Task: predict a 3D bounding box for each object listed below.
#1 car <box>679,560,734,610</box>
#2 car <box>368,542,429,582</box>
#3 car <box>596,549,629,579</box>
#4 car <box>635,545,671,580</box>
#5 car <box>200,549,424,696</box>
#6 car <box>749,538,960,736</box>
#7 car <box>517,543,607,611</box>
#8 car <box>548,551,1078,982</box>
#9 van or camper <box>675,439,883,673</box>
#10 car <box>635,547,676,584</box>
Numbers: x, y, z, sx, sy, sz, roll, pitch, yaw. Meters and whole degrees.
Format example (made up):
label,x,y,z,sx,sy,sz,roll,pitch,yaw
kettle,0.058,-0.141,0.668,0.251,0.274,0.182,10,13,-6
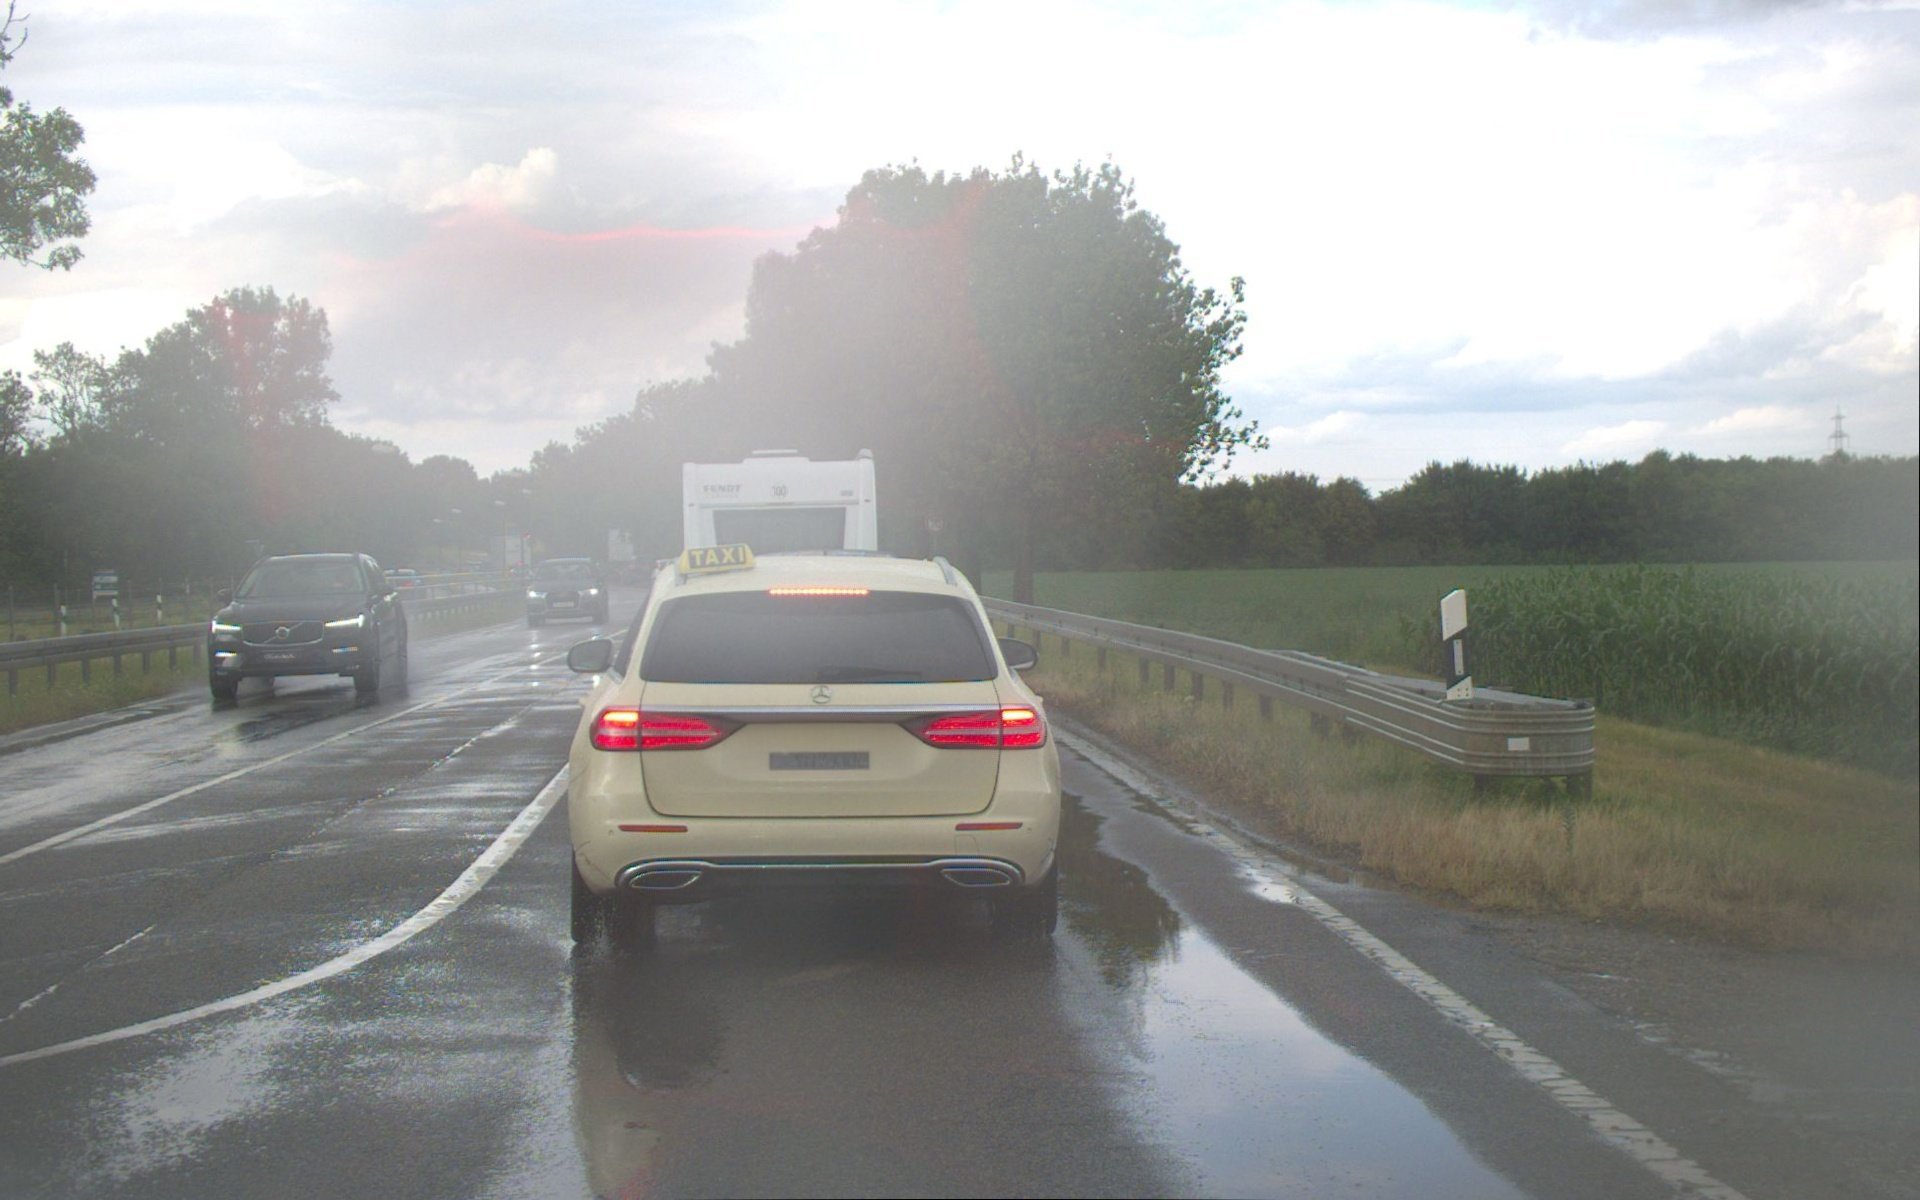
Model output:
label,x,y,z,sx,sy,sz,roll,pitch,yaw
car,-10.444,-0.645,141.413,1.993,2.007,4.001,-1,1,-8
car,-23.526,-1.600,144.072,1.993,1.645,4.000,-1,1,-2
car,-23.538,-2.454,232.759,1.993,2.007,4.001,-1,1,-8
car,-17.958,-2.184,201.051,1.993,2.007,4.001,-1,1,-6
car,-7.637,0.217,40.914,1.944,1.575,4.444,-2,1,-2
car,-0.929,0.252,29.045,1.627,1.524,3.933,-1,1,-3
car,-9.616,-0.580,83.277,1.768,1.518,4.142,-3,1,-2
car,-0.568,0.543,13.912,1.825,1.480,4.145,0,1,-2
van or camper,-2.237,-0.570,42.682,2.350,2.671,5.769,-1,1,-3
car,-16.823,-1.916,190.021,1.993,2.044,4.000,-1,1,-2
